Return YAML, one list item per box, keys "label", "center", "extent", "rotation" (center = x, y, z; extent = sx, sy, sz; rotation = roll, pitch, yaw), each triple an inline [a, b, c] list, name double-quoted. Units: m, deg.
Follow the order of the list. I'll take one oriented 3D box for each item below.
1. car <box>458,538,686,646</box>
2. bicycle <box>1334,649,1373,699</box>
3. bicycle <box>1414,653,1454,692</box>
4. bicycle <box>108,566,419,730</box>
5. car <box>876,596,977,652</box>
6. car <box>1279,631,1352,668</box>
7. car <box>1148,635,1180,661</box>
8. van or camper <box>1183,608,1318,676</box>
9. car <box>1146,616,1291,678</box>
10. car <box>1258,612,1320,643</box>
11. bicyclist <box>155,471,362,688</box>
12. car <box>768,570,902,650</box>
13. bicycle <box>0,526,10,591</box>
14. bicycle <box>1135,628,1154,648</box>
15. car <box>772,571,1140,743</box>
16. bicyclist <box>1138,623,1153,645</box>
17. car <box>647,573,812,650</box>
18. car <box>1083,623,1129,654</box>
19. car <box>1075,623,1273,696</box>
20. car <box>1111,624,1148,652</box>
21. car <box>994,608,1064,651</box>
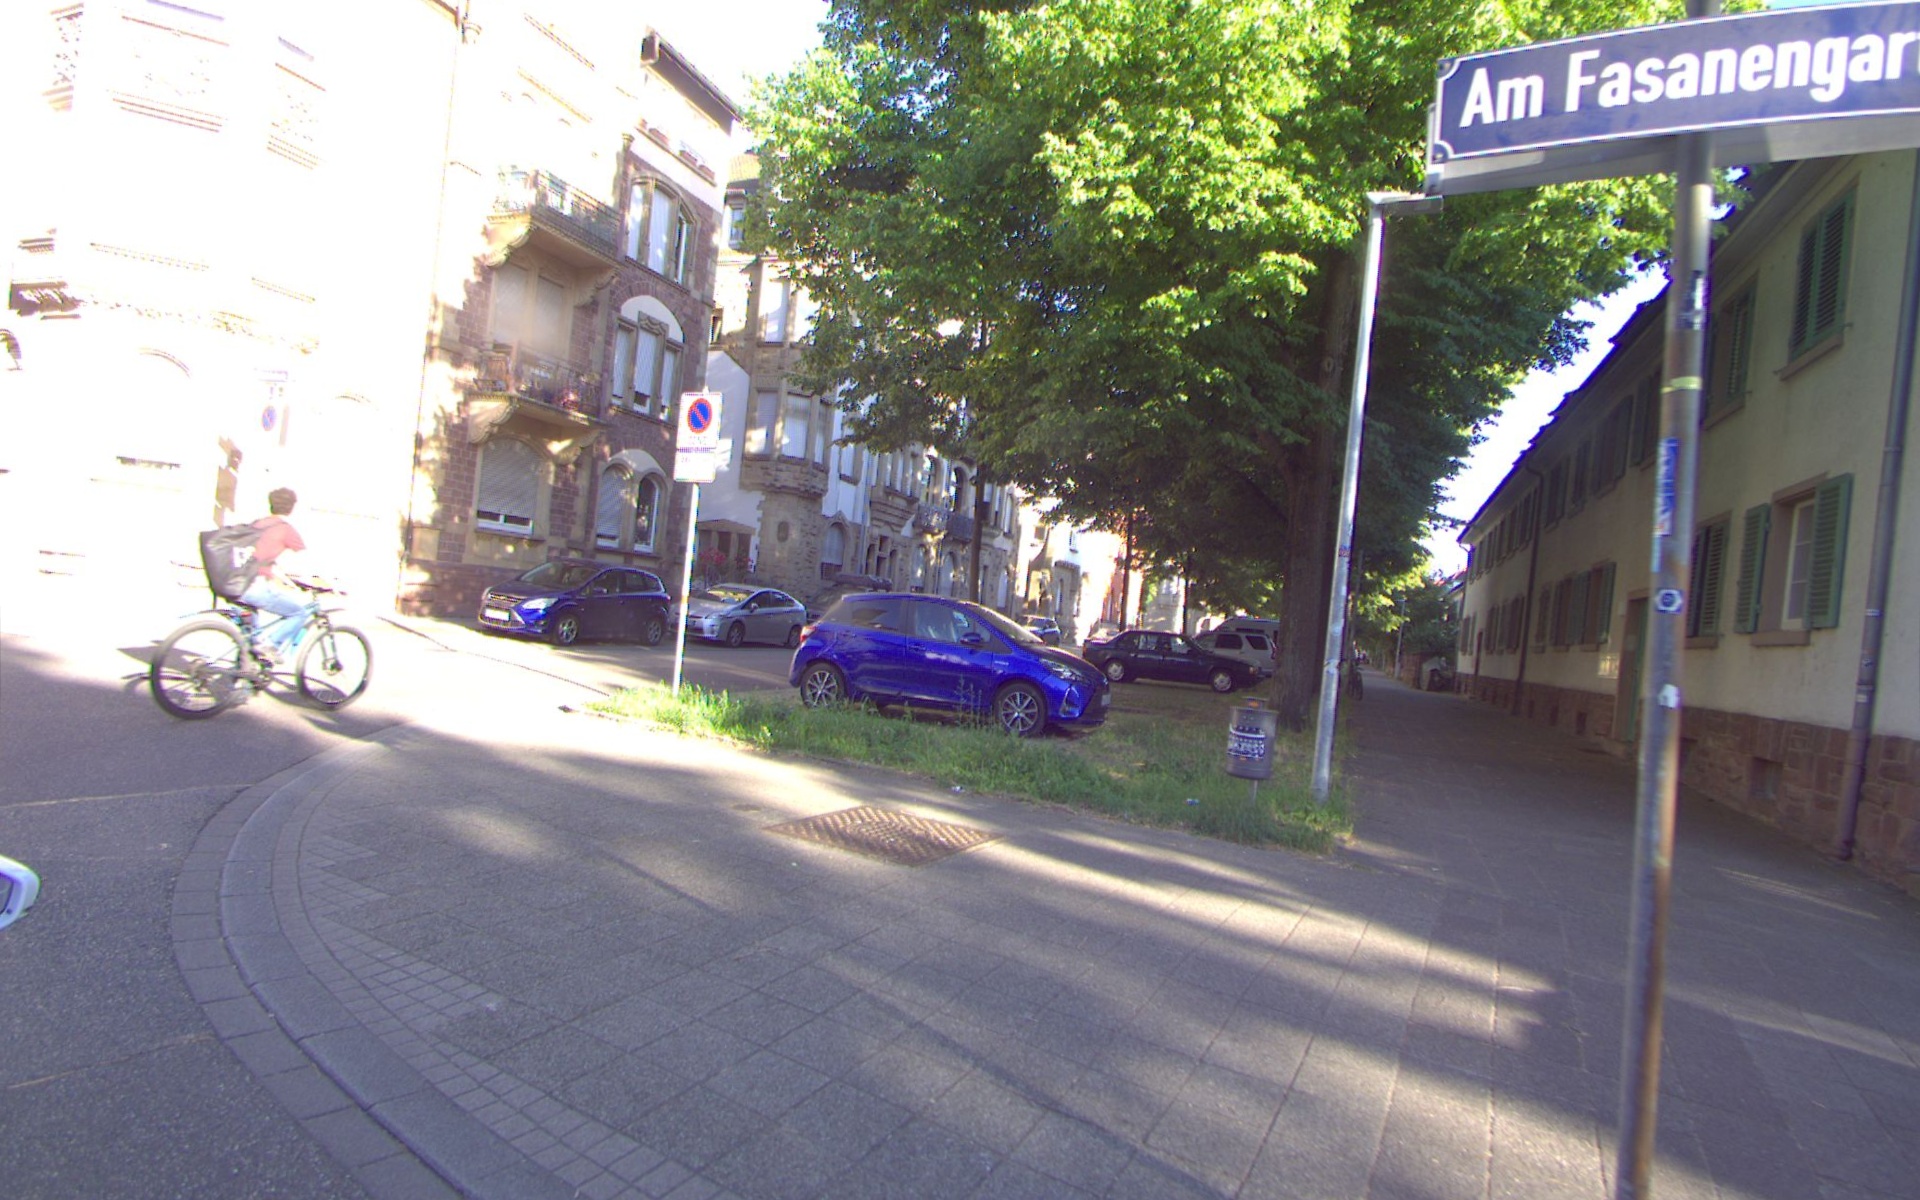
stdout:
- label: "car"
  center: [-7.502, -0.061, 19.952]
  extent: [1.703, 1.641, 4.261]
  rotation: [8, -1, 20]
- label: "bicycle"
  center: [10.525, 1.959, 26.942]
  extent: [0.618, 1.177, 1.935]
  rotation: [6, 0, 14]
- label: "bicycle"
  center: [19.159, 2.906, 40.710]
  extent: [0.787, 1.417, 2.005]
  rotation: [6, 0, 9]
- label: "bicycle"
  center: [-5.446, 0.399, 8.043]
  extent: [0.547, 1.085, 1.969]
  rotation: [9, 0, 21]
- label: "car"
  center: [-1.111, 0.923, 36.127]
  extent: [1.703, 1.592, 4.709]
  rotation: [6, -2, 23]
- label: "car"
  center: [38.766, 5.403, 109.721]
  extent: [7.224, 3.321, 2.222]
  rotation: [5, -1, 24]
- label: "car"
  center: [15.457, 3.633, 76.071]
  extent: [1.606, 1.685, 3.970]
  rotation: [6, -2, 21]
- label: "van or camper"
  center: [12.943, 1.867, 44.794]
  extent: [5.489, 2.567, 2.269]
  rotation: [4, -2, 21]
- label: "car"
  center: [8.582, 1.537, 33.338]
  extent: [4.408, 1.691, 1.941]
  rotation: [3, 0, 21]
- label: "car"
  center: [24.643, 2.047, 75.333]
  extent: [4.180, 1.862, 1.854]
  rotation: [5, -2, 23]
- label: "bicyclist"
  center: [-5.456, -0.131, 7.873]
  extent: [0.707, 1.545, 0.972]
  rotation: [6, -1, 21]
- label: "car"
  center: [-3.616, 0.375, 30.078]
  extent: [1.938, 1.999, 4.497]
  rotation: [8, 0, 20]
- label: "bicycle"
  center: [-15.883, -0.742, 15.826]
  extent: [1.546, 1.010, 0.516]
  rotation: [6, 0, 12]
- label: "bicycle"
  center: [11.795, 2.448, 64.168]
  extent: [0.741, 1.193, 2.620]
  rotation: [5, 0, 18]
- label: "car"
  center: [-0.003, 0.647, 12.250]
  extent: [3.926, 1.574, 2.001]
  rotation: [5, -2, 20]
- label: "bicyclist"
  center: [11.898, 2.166, 64.501]
  extent: [0.654, 1.362, 1.060]
  rotation: [5, 0, 19]
- label: "car"
  center: [-5.538, 0.346, 24.818]
  extent: [1.703, 1.517, 4.454]
  rotation: [8, 0, 20]
- label: "car"
  center: [9.068, 2.407, 62.322]
  extent: [1.728, 1.535, 4.114]
  rotation: [10, 0, 22]
- label: "car"
  center: [5.667, 1.552, 26.581]
  extent: [4.819, 1.459, 1.943]
  rotation: [4, -2, 21]
- label: "car"
  center: [11.383, 2.573, 67.419]
  extent: [1.468, 1.535, 3.775]
  rotation: [10, 0, 22]
- label: "car"
  center: [3.316, 1.447, 47.470]
  extent: [2.018, 1.641, 4.397]
  rotation: [6, -2, 20]
